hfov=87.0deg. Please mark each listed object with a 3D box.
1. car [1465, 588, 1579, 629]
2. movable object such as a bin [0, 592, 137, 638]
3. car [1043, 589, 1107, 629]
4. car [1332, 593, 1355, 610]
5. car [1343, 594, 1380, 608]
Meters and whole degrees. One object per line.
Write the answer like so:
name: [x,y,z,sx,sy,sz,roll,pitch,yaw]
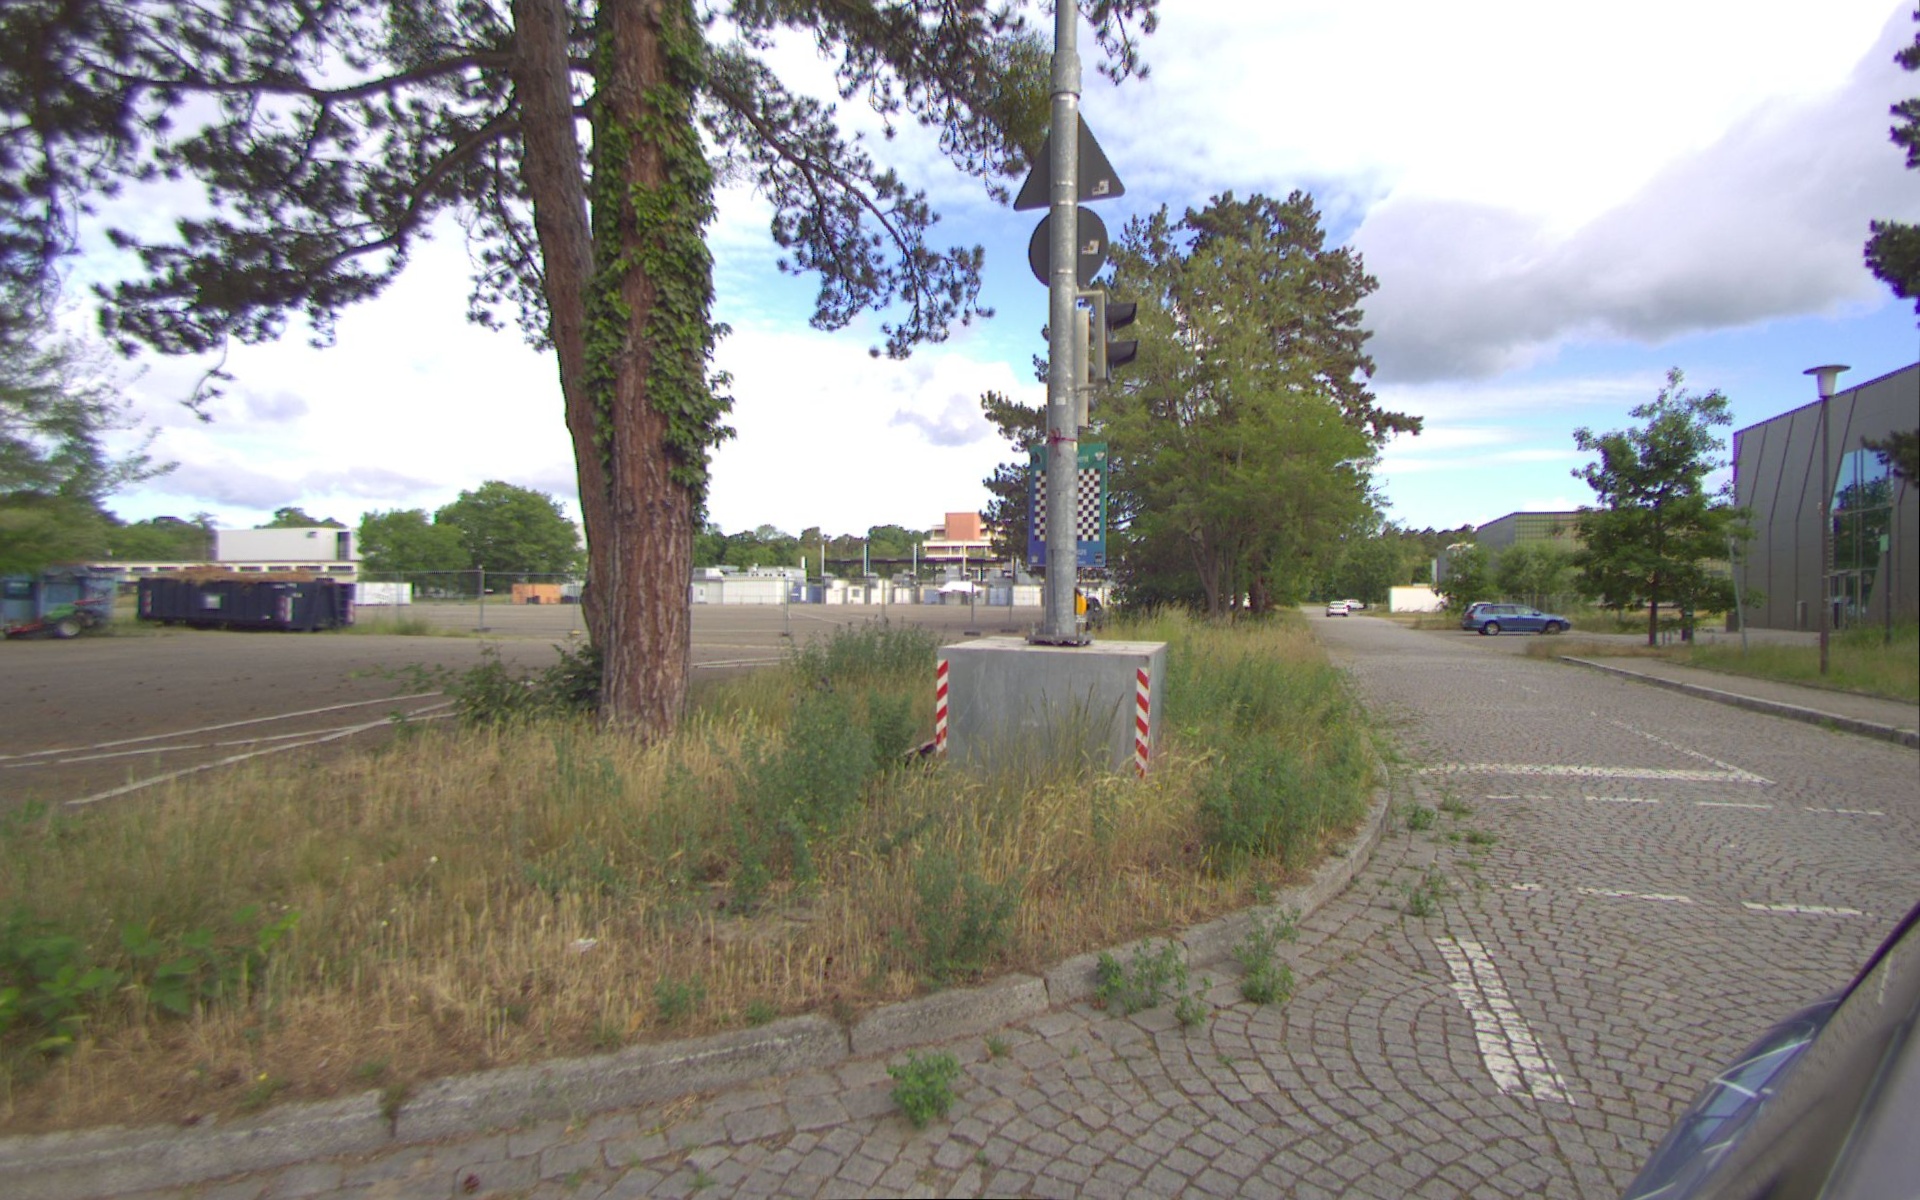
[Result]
car: [26.585,0.371,48.052,4.418,1.854,1.988,1,0,19]
movable object such as a bin: [-20.753,0.314,23.394,0.841,1.000,2.677,0,1,16]
car: [4.657,0.340,40.516,1.945,1.501,3.980,1,1,16]
car: [35.796,0.110,94.523,1.863,1.544,3.974,1,1,20]
car: [54.108,0.097,136.524,4.418,1.854,1.988,1,0,19]
